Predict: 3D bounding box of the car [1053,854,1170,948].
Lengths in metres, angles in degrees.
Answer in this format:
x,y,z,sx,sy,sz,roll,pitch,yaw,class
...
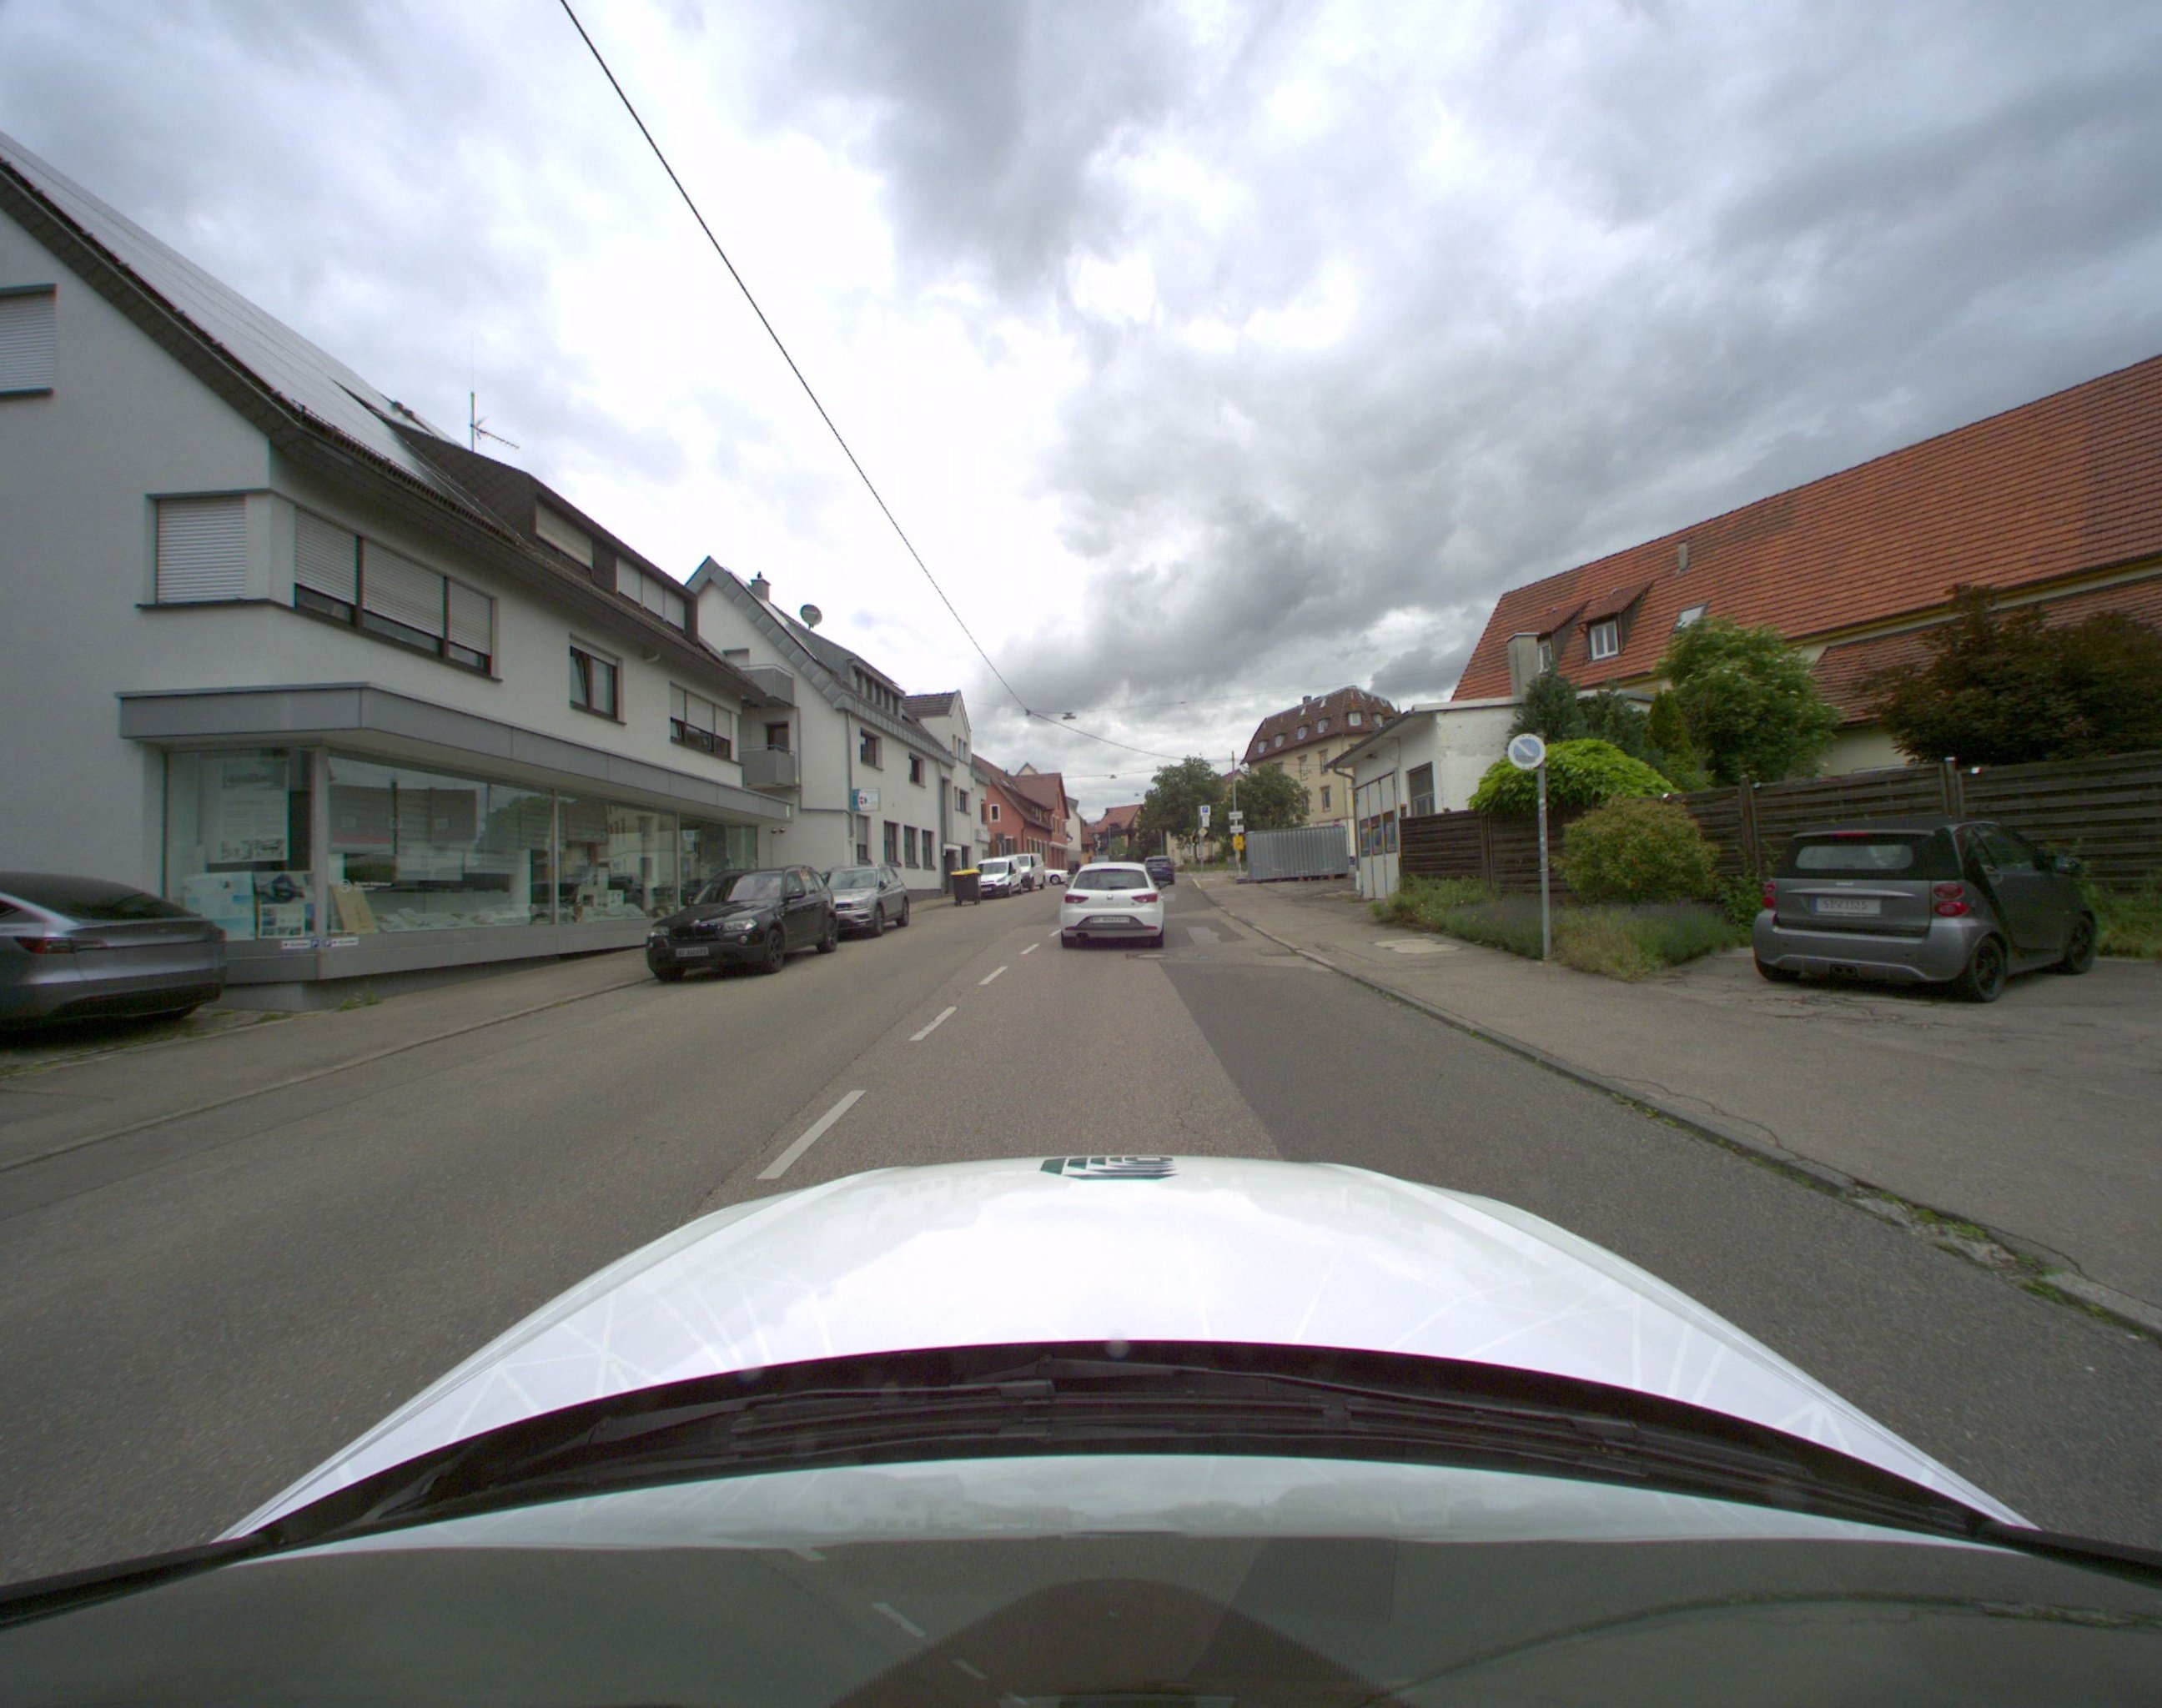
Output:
x,y,z,sx,sy,sz,roll,pitch,yaw,class
0.692,0.779,15.025,1.749,1.452,4.008,-2,-1,7,car

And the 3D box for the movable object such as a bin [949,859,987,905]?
x,y,z,sx,sy,sz,roll,pitch,yaw,class
-4.277,1.054,30.951,1.136,1.633,1.562,-4,0,0,movable object such as a bin

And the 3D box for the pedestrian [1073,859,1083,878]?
x,y,z,sx,sy,sz,roll,pitch,yaw,class
-0.264,1.411,80.028,0.796,1.785,0.894,-2,-1,6,pedestrian

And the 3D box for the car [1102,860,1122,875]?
x,y,z,sx,sy,sz,roll,pitch,yaw,class
3.659,1.636,96.515,1.992,1.633,4.854,-1,-2,-1,car

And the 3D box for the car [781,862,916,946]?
x,y,z,sx,sy,sz,roll,pitch,yaw,class
-5.316,1.067,19.246,1.831,1.633,4.407,-4,0,0,car

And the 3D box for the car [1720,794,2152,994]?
x,y,z,sx,sy,sz,roll,pitch,yaw,class
8.269,0.294,7.929,3.324,1.519,1.692,-3,0,-20,car

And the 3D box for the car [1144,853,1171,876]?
x,y,z,sx,sy,sz,roll,pitch,yaw,class
5.350,0.762,56.638,1.750,1.452,4.005,-2,-2,5,car

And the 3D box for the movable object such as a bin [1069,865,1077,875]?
x,y,z,sx,sy,sz,roll,pitch,yaw,class
-0.831,1.678,85.269,0.663,1.018,0.796,-3,-1,3,movable object such as a bin

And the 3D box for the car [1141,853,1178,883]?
x,y,z,sx,sy,sz,roll,pitch,yaw,class
4.077,0.778,42.807,1.751,1.452,4.003,-2,-2,4,car

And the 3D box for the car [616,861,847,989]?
x,y,z,sx,sy,sz,roll,pitch,yaw,class
-5.503,1.013,13.549,1.831,1.633,4.407,-4,0,0,car

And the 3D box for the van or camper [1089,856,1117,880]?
x,y,z,sx,sy,sz,roll,pitch,yaw,class
2.105,1.330,76.609,2.063,2.006,4.864,-4,-3,6,van or camper

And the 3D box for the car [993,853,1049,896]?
x,y,z,sx,sy,sz,roll,pitch,yaw,class
-3.043,1.001,42.431,1.802,2.005,4.774,-4,0,8,car

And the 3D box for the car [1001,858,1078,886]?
x,y,z,sx,sy,sz,roll,pitch,yaw,class
-2.626,1.160,52.022,4.526,1.445,2.005,-4,-1,9,car

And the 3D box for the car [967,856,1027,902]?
x,y,z,sx,sy,sz,roll,pitch,yaw,class
-3.745,1.054,36.919,1.725,1.832,4.305,-4,0,6,car

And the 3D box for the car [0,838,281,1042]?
x,y,z,sx,sy,sz,roll,pitch,yaw,class
-11.417,0.893,8.558,3.973,1.856,2.000,-3,-1,1,car
